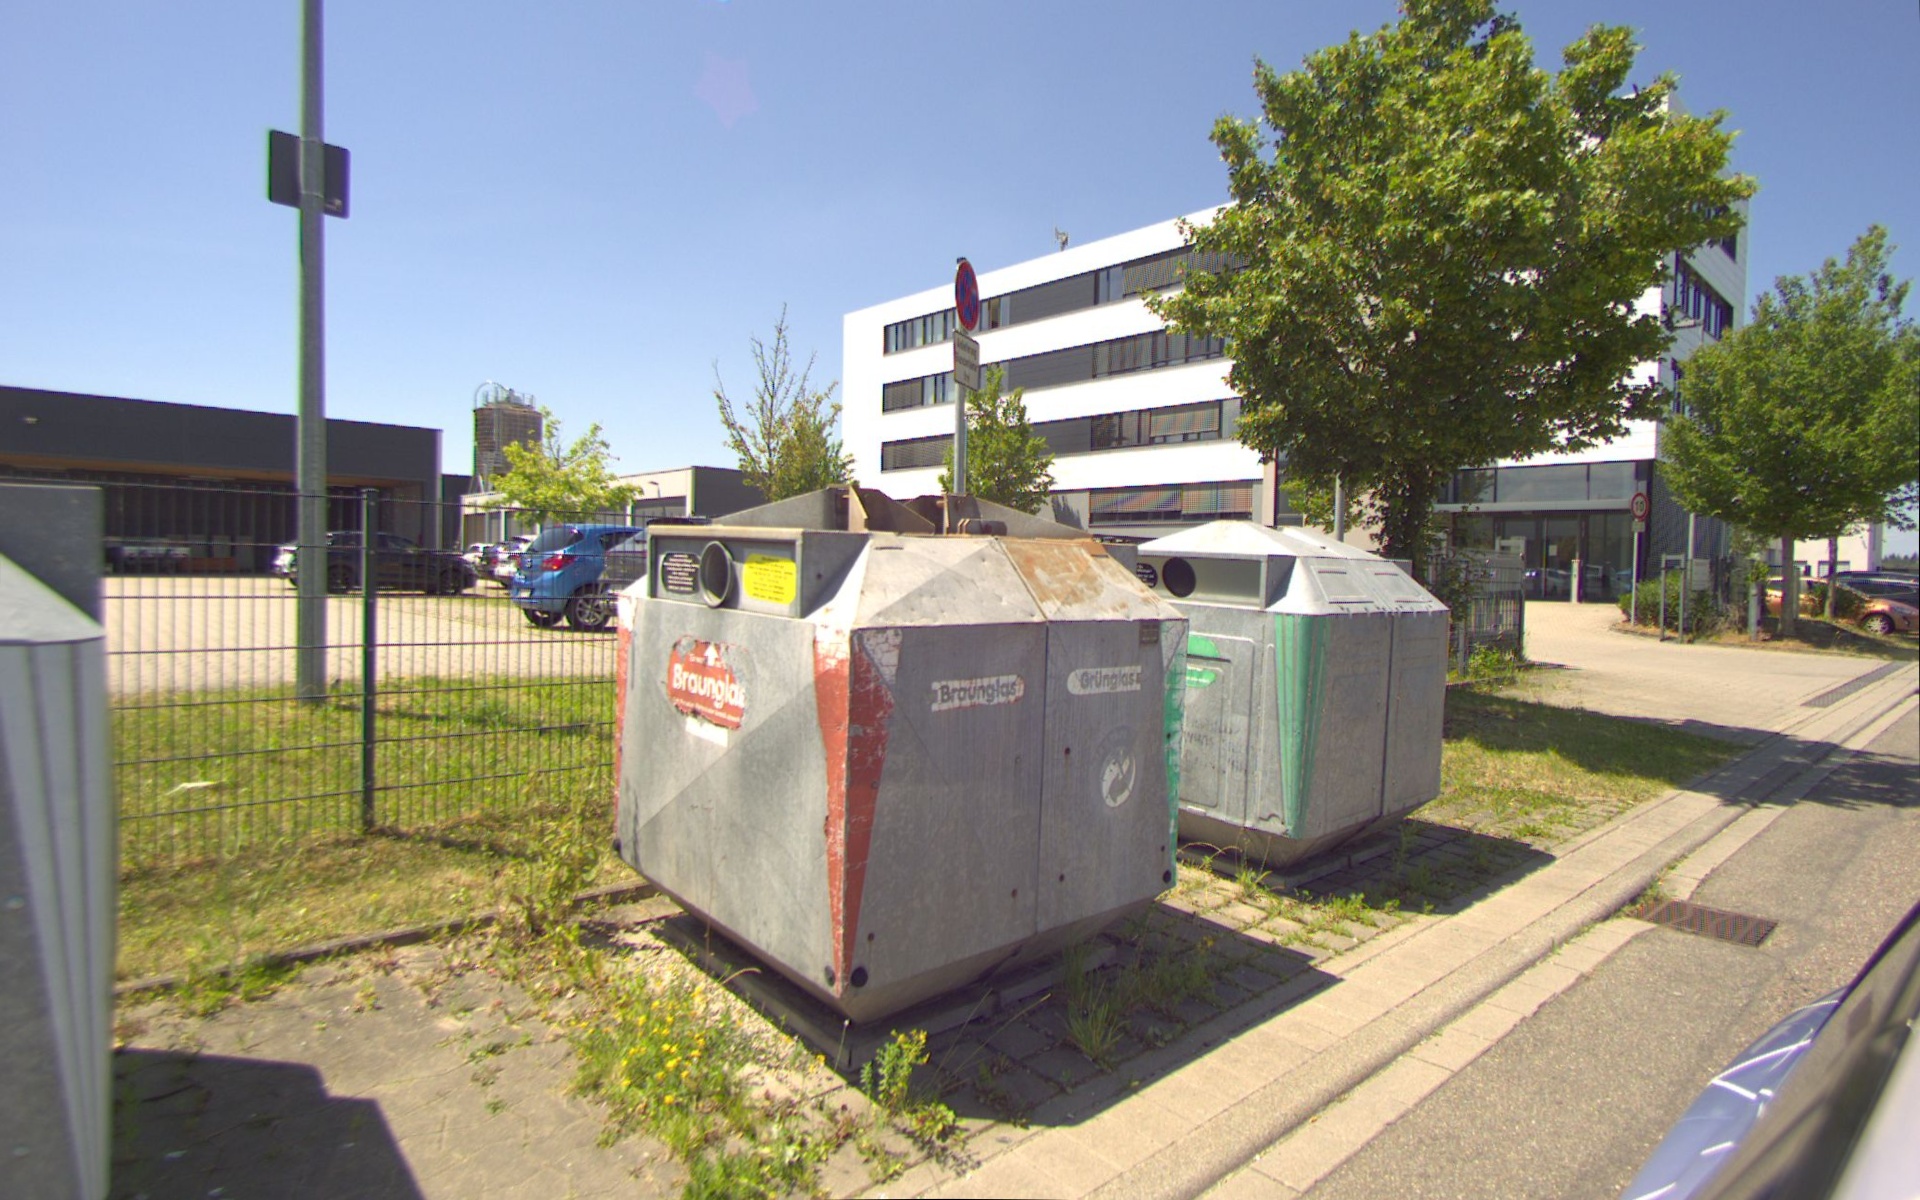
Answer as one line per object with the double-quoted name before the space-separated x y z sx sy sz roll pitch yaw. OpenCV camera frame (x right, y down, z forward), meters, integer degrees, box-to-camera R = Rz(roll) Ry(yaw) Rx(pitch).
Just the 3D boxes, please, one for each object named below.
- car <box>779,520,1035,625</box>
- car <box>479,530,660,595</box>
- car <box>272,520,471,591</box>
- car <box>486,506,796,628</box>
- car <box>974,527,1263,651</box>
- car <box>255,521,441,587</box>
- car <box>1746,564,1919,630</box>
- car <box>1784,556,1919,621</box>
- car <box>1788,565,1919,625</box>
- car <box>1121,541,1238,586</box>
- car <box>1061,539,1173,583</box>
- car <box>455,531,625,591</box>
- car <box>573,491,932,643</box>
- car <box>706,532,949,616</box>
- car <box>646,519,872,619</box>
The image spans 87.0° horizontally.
"car" -0.848 -0.562 18.343 4.575 1.673 1.841 -3 4 -44
"car" -11.133 -1.127 29.083 4.459 1.735 1.913 -3 4 -44
"car" -14.753 -1.084 25.485 4.008 1.604 1.913 1 2 -44
"car" -4.532 -0.409 14.764 3.956 1.510 1.648 2 1 -44
"car" 2.350 -0.254 14.237 4.338 1.472 1.791 -3 4 -44
"car" -16.628 -1.205 27.593 4.008 1.604 1.913 1 2 -44
"car" 23.263 -0.114 26.484 1.696 1.513 3.993 0 4 -43
"car" 27.519 -0.353 30.362 1.693 1.787 3.999 0 3 -38
"car" 25.698 -0.149 28.271 1.752 1.513 3.717 -1 4 -43
"car" 7.705 -1.299 35.383 4.149 1.478 1.810 -2 4 -40
"car" 5.867 -1.463 37.620 4.149 1.547 1.810 -2 4 -40
"car" -12.882 -1.251 31.241 4.459 1.735 1.913 -3 4 -44
"car" -2.518 -0.335 12.997 4.171 1.643 1.791 2 1 -44
"car" -2.486 -0.586 19.917 4.575 1.450 1.841 -3 4 -44
"car" -4.216 -0.725 21.703 4.443 1.922 1.913 -3 4 -44
